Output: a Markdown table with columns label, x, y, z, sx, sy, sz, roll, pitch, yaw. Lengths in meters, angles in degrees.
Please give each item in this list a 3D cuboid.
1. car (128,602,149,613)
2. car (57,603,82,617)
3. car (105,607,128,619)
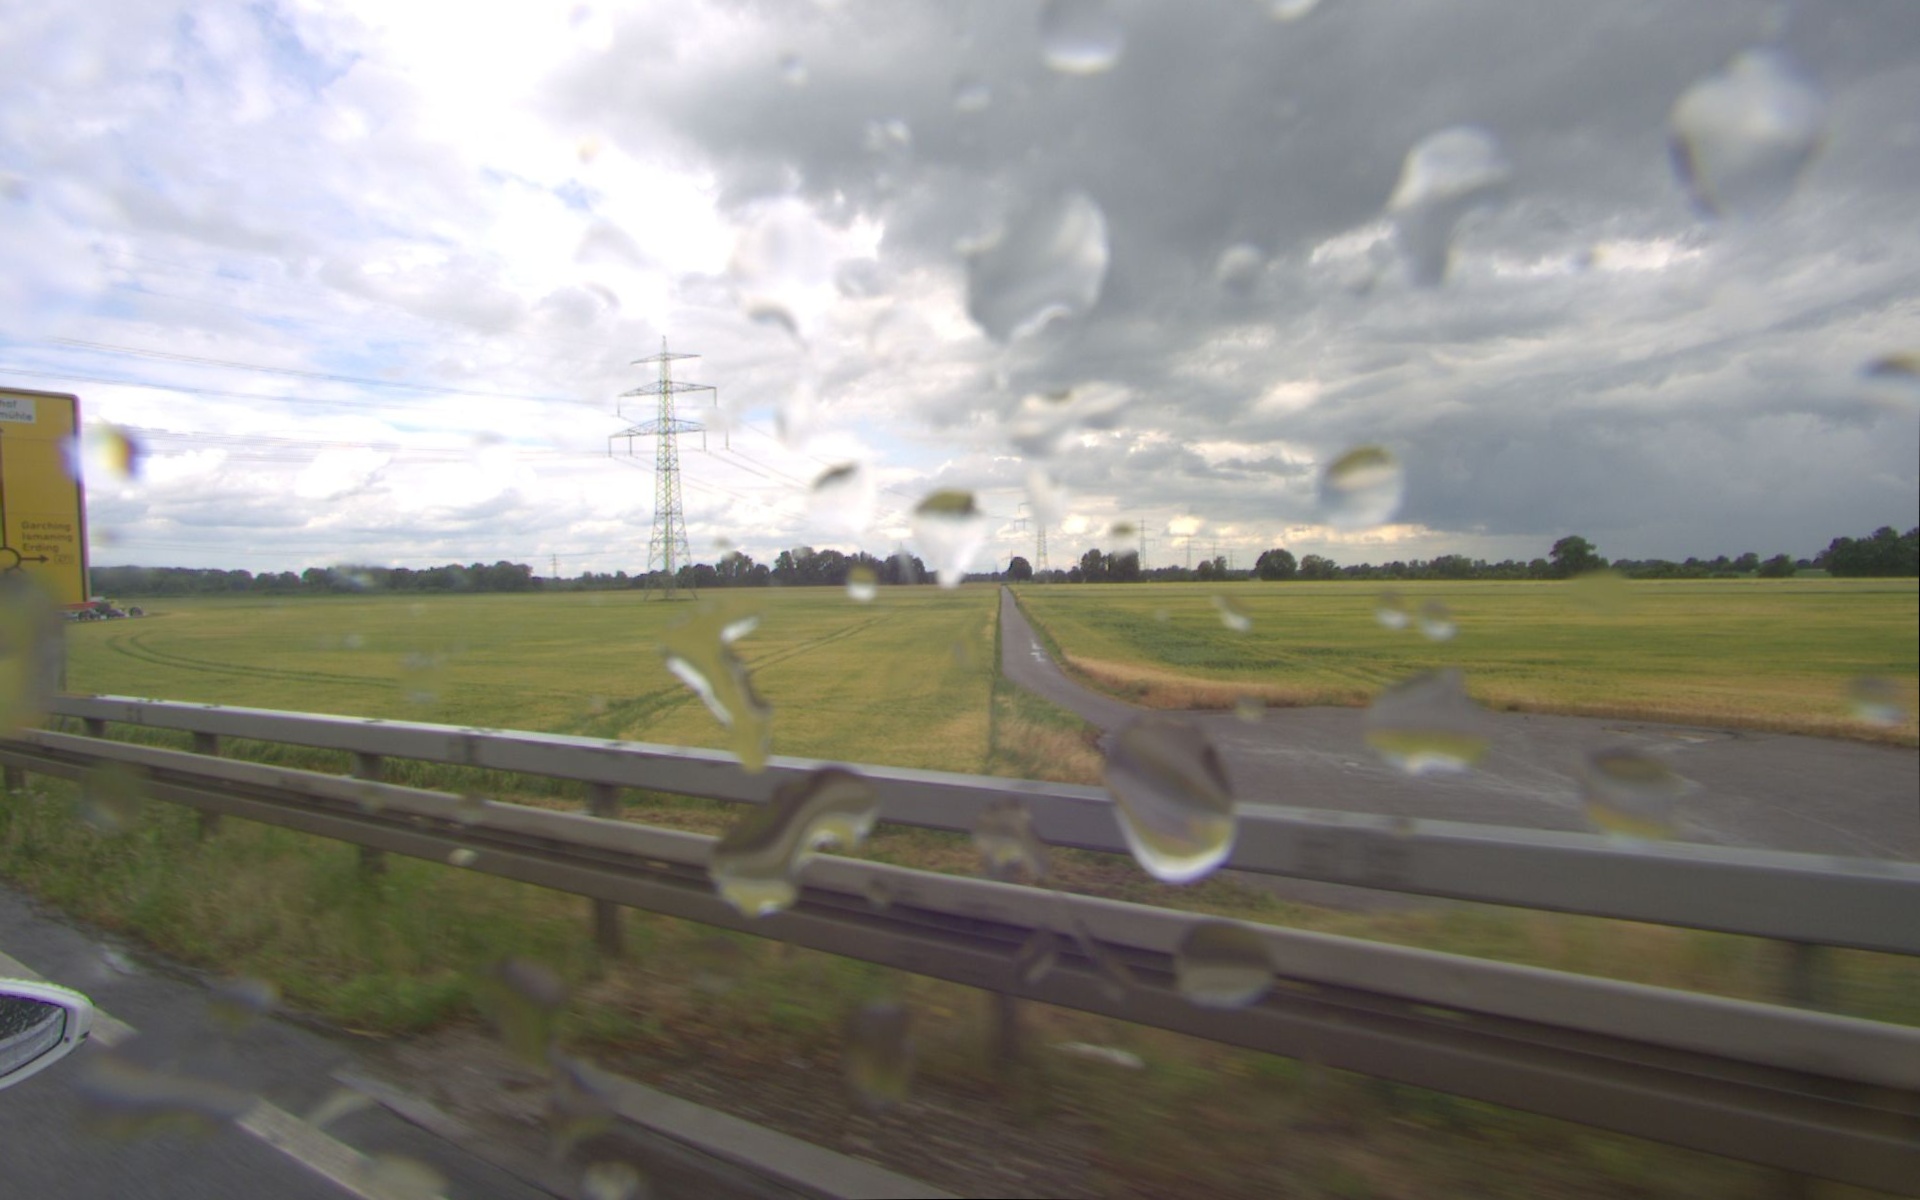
| label | x | y | z | sx | sy | sz | roll | pitch | yaw |
| --- | --- | --- | --- | --- | --- | --- | --- | --- | --- |
| car | -156.567 | 1.420 | 190.907 | 1.737 | 2.040 | 3.991 | 0 | 0 | -19 |
| car | -134.534 | 1.469 | 151.358 | 2.203 | 2.039 | 3.976 | 0 | -2 | -33 |
| car | -144.743 | 2.264 | 171.906 | 1.968 | 2.039 | 3.988 | 0 | -2 | -24 |
